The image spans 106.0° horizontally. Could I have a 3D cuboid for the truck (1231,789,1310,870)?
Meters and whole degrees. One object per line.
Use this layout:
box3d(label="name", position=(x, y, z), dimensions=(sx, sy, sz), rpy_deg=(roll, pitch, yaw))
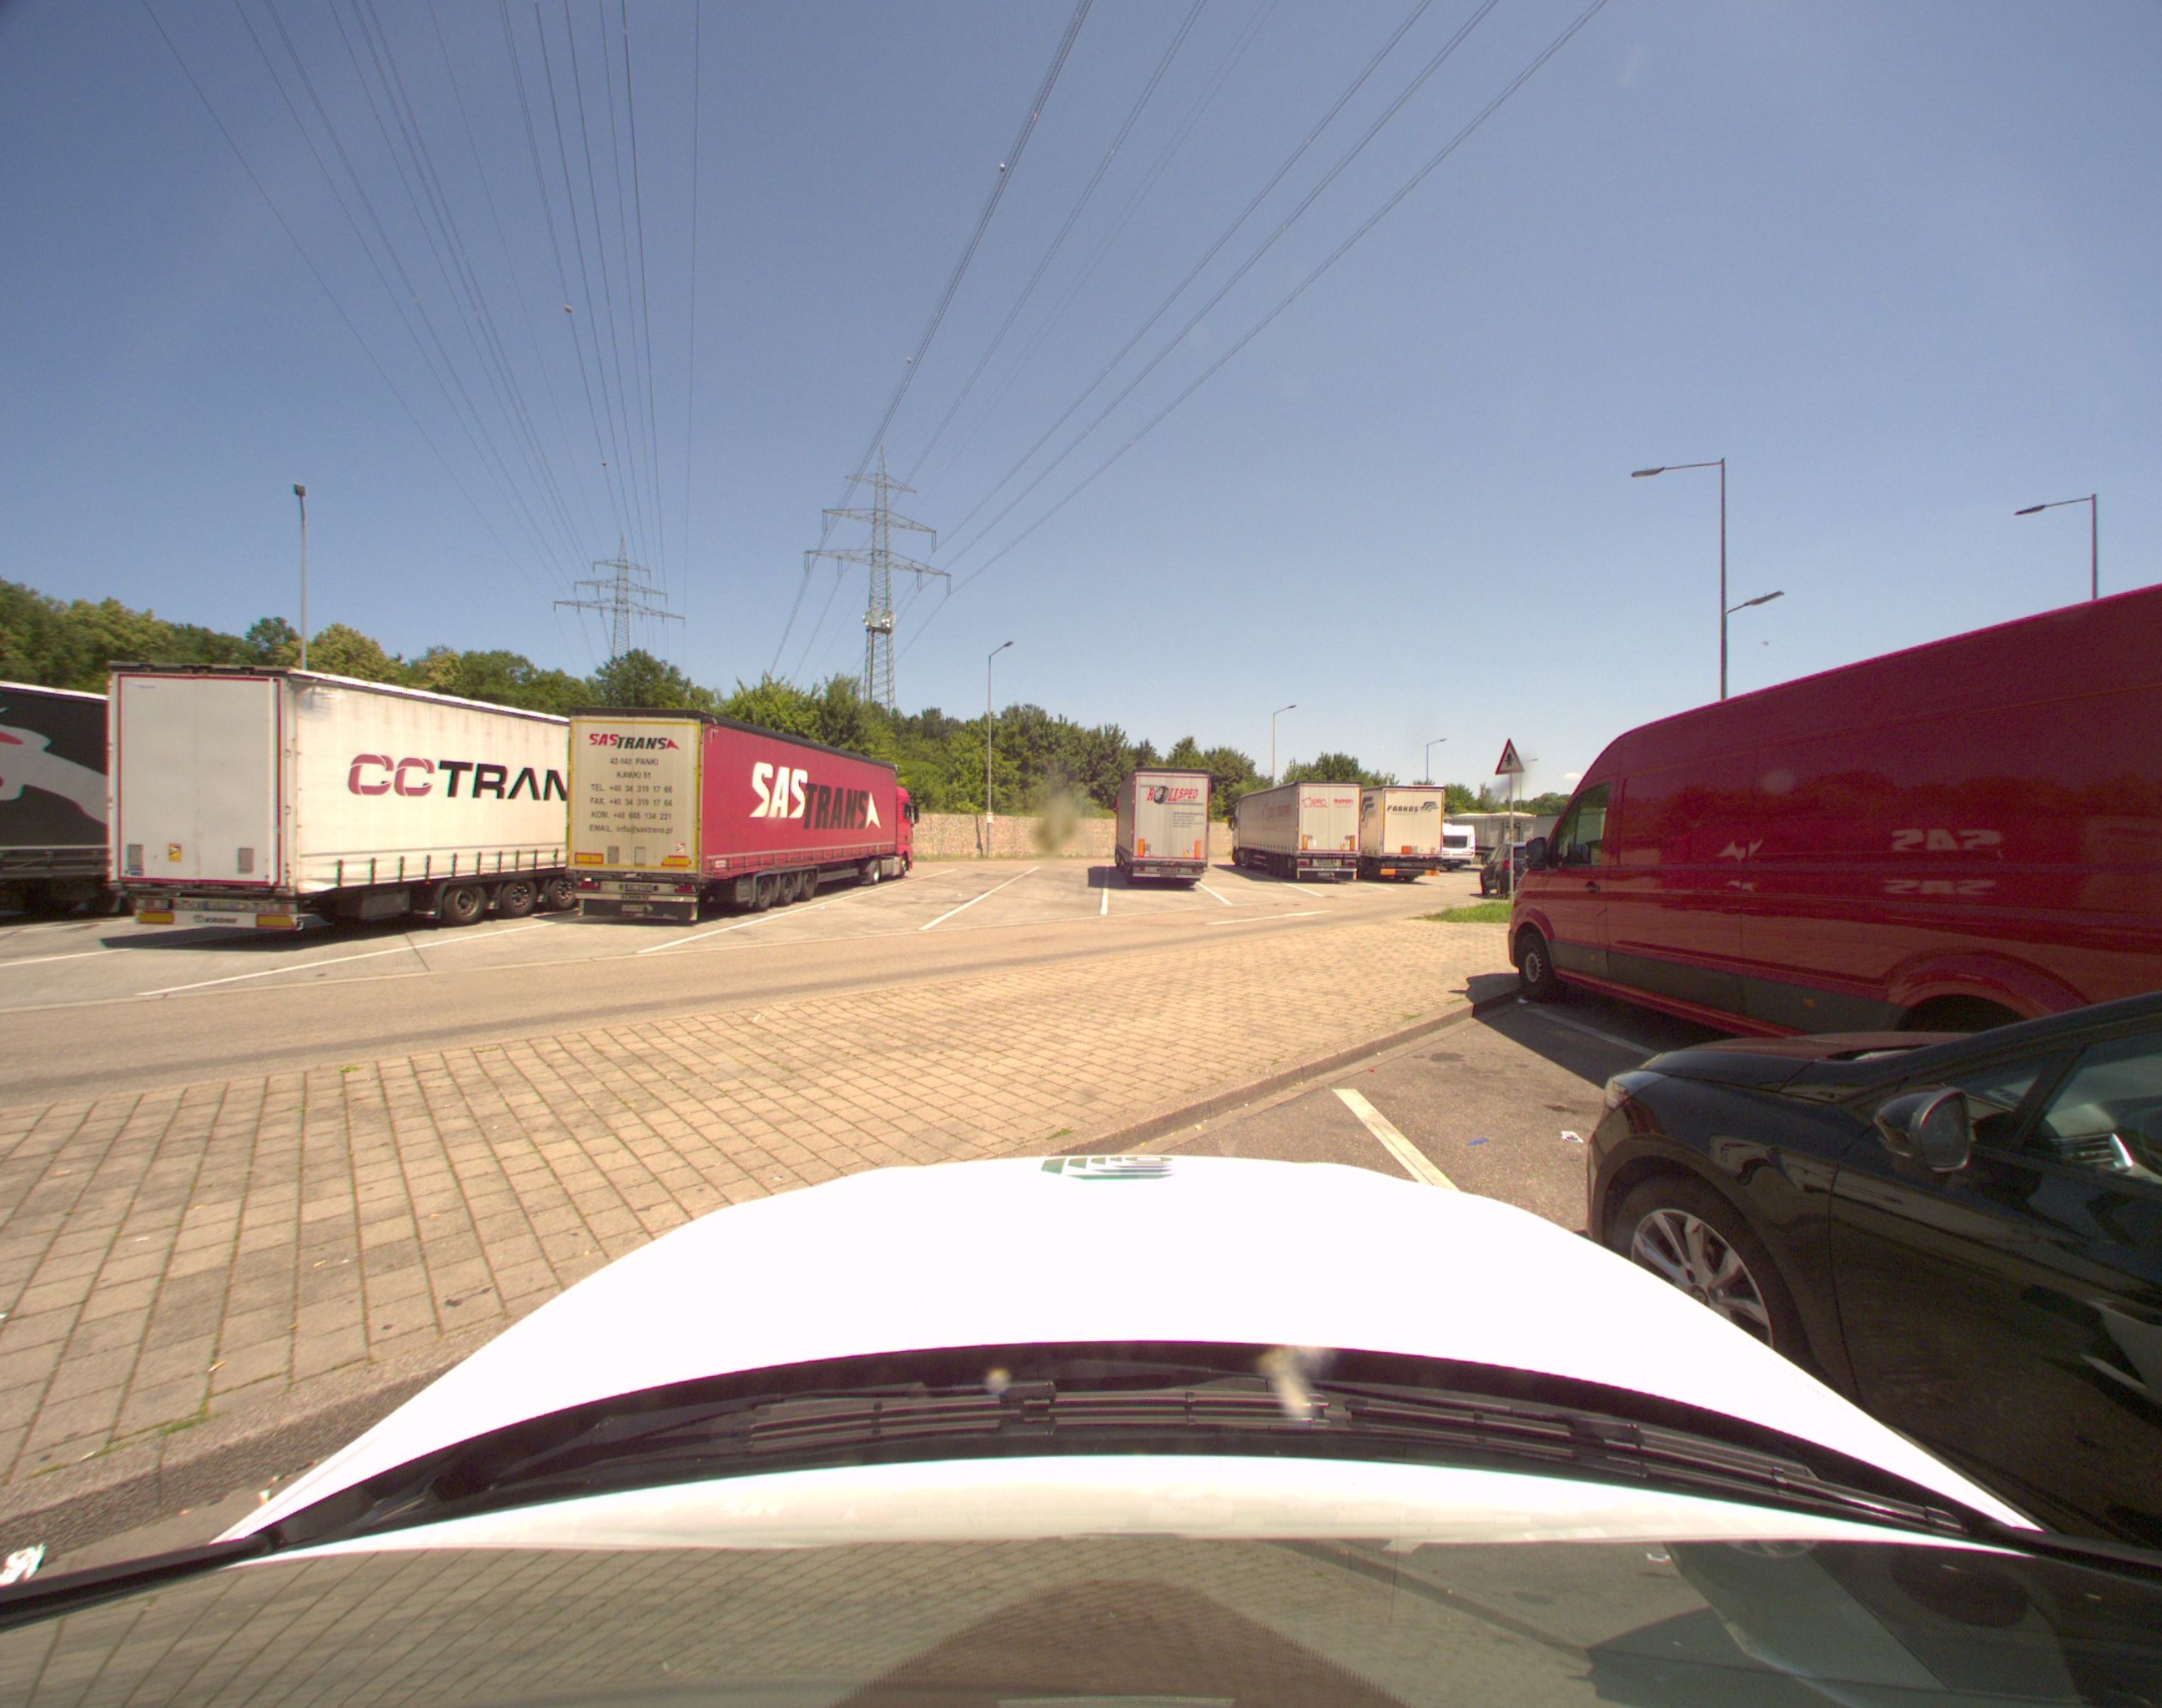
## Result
box3d(label="truck", position=(10.183, -1.370, 44.536), dimensions=(2.856, 4.037, 6.960), rpy_deg=(1, 2, 2))

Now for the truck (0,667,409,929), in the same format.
box3d(label="truck", position=(-18.615, -1.028, 16.272), dimensions=(2.803, 4.190, 8.793), rpy_deg=(0, 2, 2))

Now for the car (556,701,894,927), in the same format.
box3d(label="car", position=(-8.046, -0.938, 21.435), dimensions=(2.686, 4.112, 12.943), rpy_deg=(1, 2, 2))

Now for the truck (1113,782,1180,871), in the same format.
box3d(label="truck", position=(3.141, -1.397, 40.819), dimensions=(2.857, 4.037, 7.029), rpy_deg=(0, 2, 1))

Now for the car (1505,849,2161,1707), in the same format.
box3d(label="car", position=(2.458, 0.757, 1.143), dimensions=(1.612, 1.483, 3.762), rpy_deg=(-1, 1, -4))

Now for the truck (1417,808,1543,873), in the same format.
box3d(label="truck", position=(24.303, -0.957, 50.503), dimensions=(2.478, 3.568, 11.429), rpy_deg=(1, 2, 2))

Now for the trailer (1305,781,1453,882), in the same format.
box3d(label="trailer", position=(13.644, -1.124, 38.880), dimensions=(2.856, 4.037, 12.445), rpy_deg=(1, 2, 2))

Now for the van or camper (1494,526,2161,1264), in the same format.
box3d(label="van or camper", position=(5.141, 0.102, 5.495), dimensions=(1.986, 2.654, 6.490), rpy_deg=(-1, 1, 6))

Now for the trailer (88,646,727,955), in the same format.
box3d(label="trailer", position=(-12.160, -0.980, 17.791), dimensions=(2.803, 4.266, 12.947), rpy_deg=(1, 2, 2))

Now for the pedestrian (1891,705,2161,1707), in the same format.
box3d(label="pedestrian", position=(1.387, 0.647, 0.830), dimensions=(0.650, 1.586, 0.648), rpy_deg=(-1, 1, -29))

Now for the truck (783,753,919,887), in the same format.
box3d(label="truck", position=(-7.747, -1.158, 28.351), dimensions=(2.686, 4.112, 6.243), rpy_deg=(1, 2, 2))

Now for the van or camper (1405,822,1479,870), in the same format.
box3d(label="van or camper", position=(20.593, -0.466, 46.744), dimensions=(2.096, 2.561, 5.376), rpy_deg=(-1, 1, 3))

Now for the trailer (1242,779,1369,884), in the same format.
box3d(label="trailer", position=(9.957, -1.105, 37.904), dimensions=(2.856, 4.037, 12.445), rpy_deg=(1, 2, 2))

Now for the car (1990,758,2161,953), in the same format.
box3d(label="car", position=(12.809, 0.012, 8.442), dimensions=(1.978, 2.150, 5.335), rpy_deg=(-1, 1, 16))

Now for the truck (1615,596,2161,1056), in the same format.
box3d(label="truck", position=(7.942, -0.209, 7.067), dimensions=(2.455, 2.792, 6.978), rpy_deg=(0, 1, 4))

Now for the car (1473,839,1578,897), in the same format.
box3d(label="car", position=(13.181, 0.357, 24.389), dimensions=(1.828, 1.561, 3.965), rpy_deg=(-1, 1, 14))

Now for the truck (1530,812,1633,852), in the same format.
box3d(label="truck", position=(38.036, -1.643, 62.381), dimensions=(2.117, 2.820, 9.783), rpy_deg=(-1, 1, 2))

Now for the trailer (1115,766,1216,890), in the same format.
box3d(label="trailer", position=(3.048, -1.107, 33.731), dimensions=(2.857, 4.037, 14.244), rpy_deg=(0, 2, 1))

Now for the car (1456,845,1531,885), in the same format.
box3d(label="car", position=(16.844, 0.401, 33.448), dimensions=(1.582, 1.545, 3.647), rpy_deg=(-1, 1, 6))
